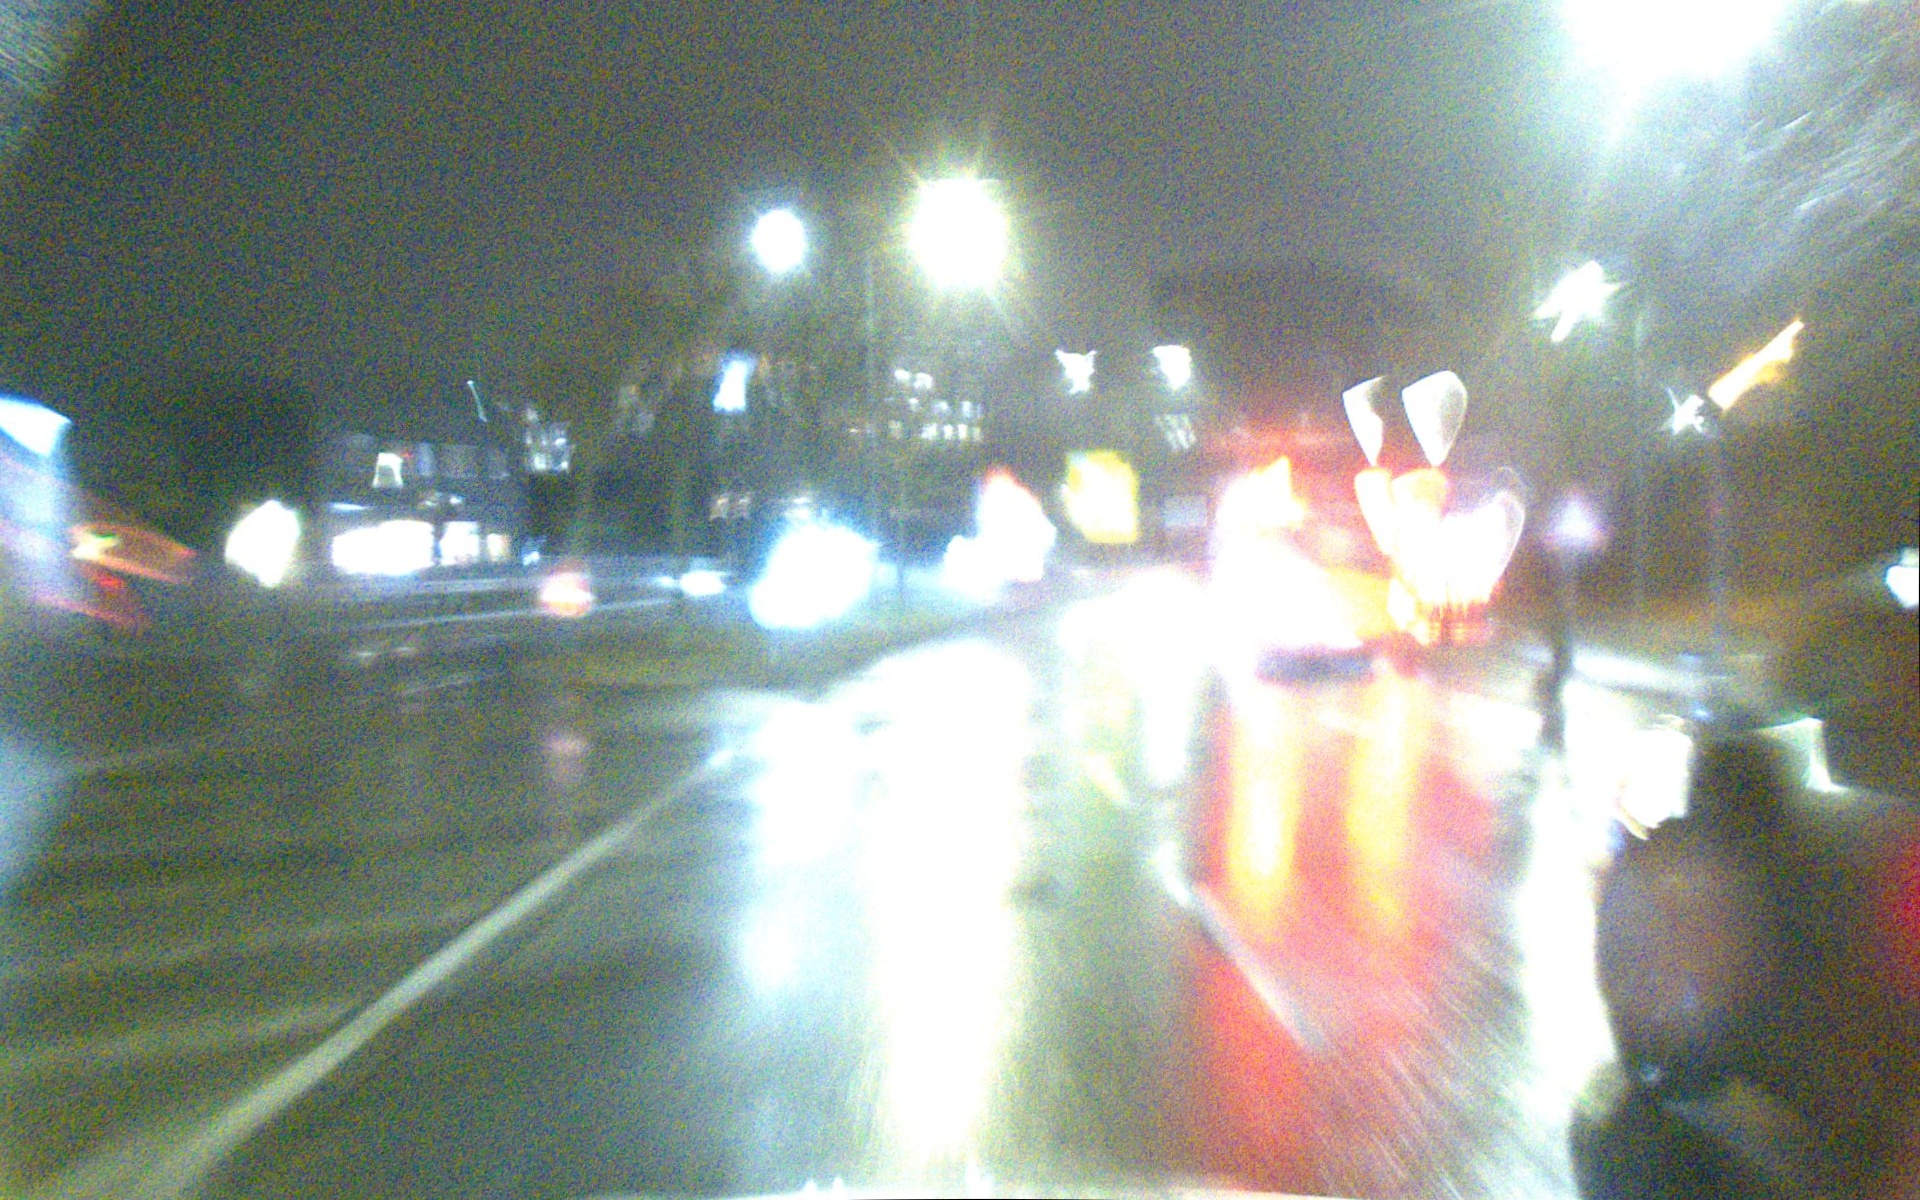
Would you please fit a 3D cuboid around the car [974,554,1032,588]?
[{"bbox_3d":[2.066,-1.373,77.908,1.826,1.489,4.644,-2,1,13],"label":"car"}]

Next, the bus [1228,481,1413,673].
[{"bbox_3d":[6.874,-0.462,32.736,2.978,3.268,9.058,0,1,9],"label":"bus"}]

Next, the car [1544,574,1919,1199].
[{"bbox_3d":[3.069,0.710,3.850,1.953,1.551,3.999,0,1,-1],"label":"car"}]

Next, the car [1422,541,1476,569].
[{"bbox_3d":[28.176,-2.606,95.230,1.746,1.527,3.986,2,3,36],"label":"car"}]

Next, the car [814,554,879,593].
[{"bbox_3d":[-4.911,-1.174,72.276,1.951,1.621,4.004,0,2,9],"label":"car"}]
